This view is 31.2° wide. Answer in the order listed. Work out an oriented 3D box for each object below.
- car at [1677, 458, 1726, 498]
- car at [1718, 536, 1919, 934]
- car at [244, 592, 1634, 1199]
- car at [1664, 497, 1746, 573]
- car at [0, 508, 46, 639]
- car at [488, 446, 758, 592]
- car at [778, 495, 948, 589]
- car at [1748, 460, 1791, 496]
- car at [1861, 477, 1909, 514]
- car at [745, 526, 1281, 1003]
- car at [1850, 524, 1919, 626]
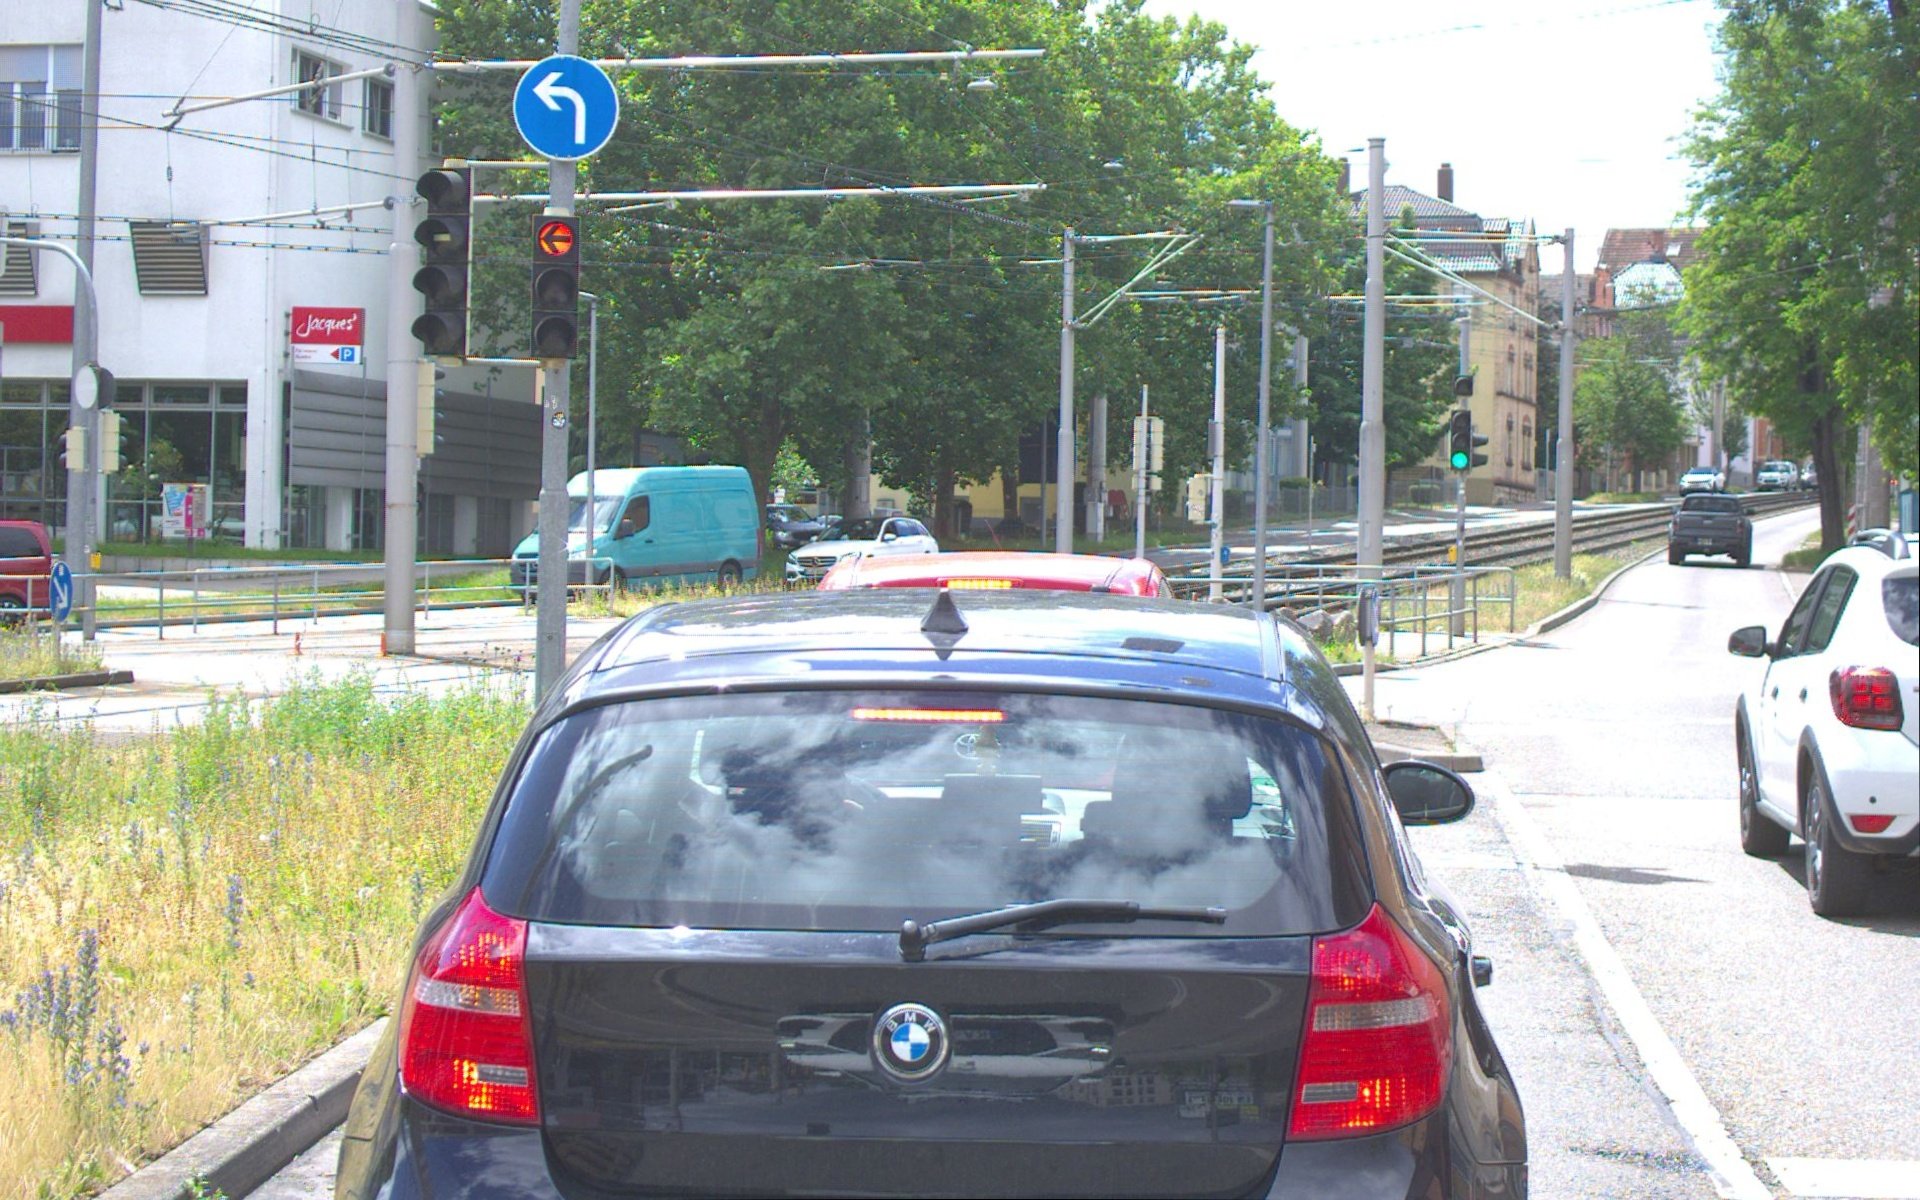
[{"bbox_3d":[40.523,-6.651,187.734,1.996,2.007,3.996,0,0,21],"label":"car"},{"bbox_3d":[4.411,0.487,15.168,1.715,1.545,3.792,0,1,7],"label":"car"},{"bbox_3d":[-0.112,0.716,6.213,1.701,1.447,4.000,0,0,-3],"label":"car"},{"bbox_3d":[19.398,-1.672,89.538,2.000,1.880,5.147,0,0,12],"label":"car"},{"bbox_3d":[-16.515,-0.385,52.177,4.784,2.002,1.858,-1,0,-44],"label":"car"},{"bbox_3d":[-6.356,-1.490,65.547,2.134,2.645,5.680,0,0,31],"label":"car"},{"bbox_3d":[-2.016,-1.199,73.054,1.855,1.921,4.792,0,0,21],"label":"car"},{"bbox_3d":[48.759,-7.353,207.031,1.996,2.007,3.996,0,0,21],"label":"car"},{"bbox_3d":[44.367,-5.008,164.908,1.995,1.656,3.996,0,0,18],"label":"car"},{"bbox_3d":[0.344,0.505,12.665,1.625,1.468,3.999,0,0,6],"label":"car"},{"bbox_3d":[15.523,-0.405,56.119,1.788,1.590,3.998,0,0,13],"label":"car"}]
